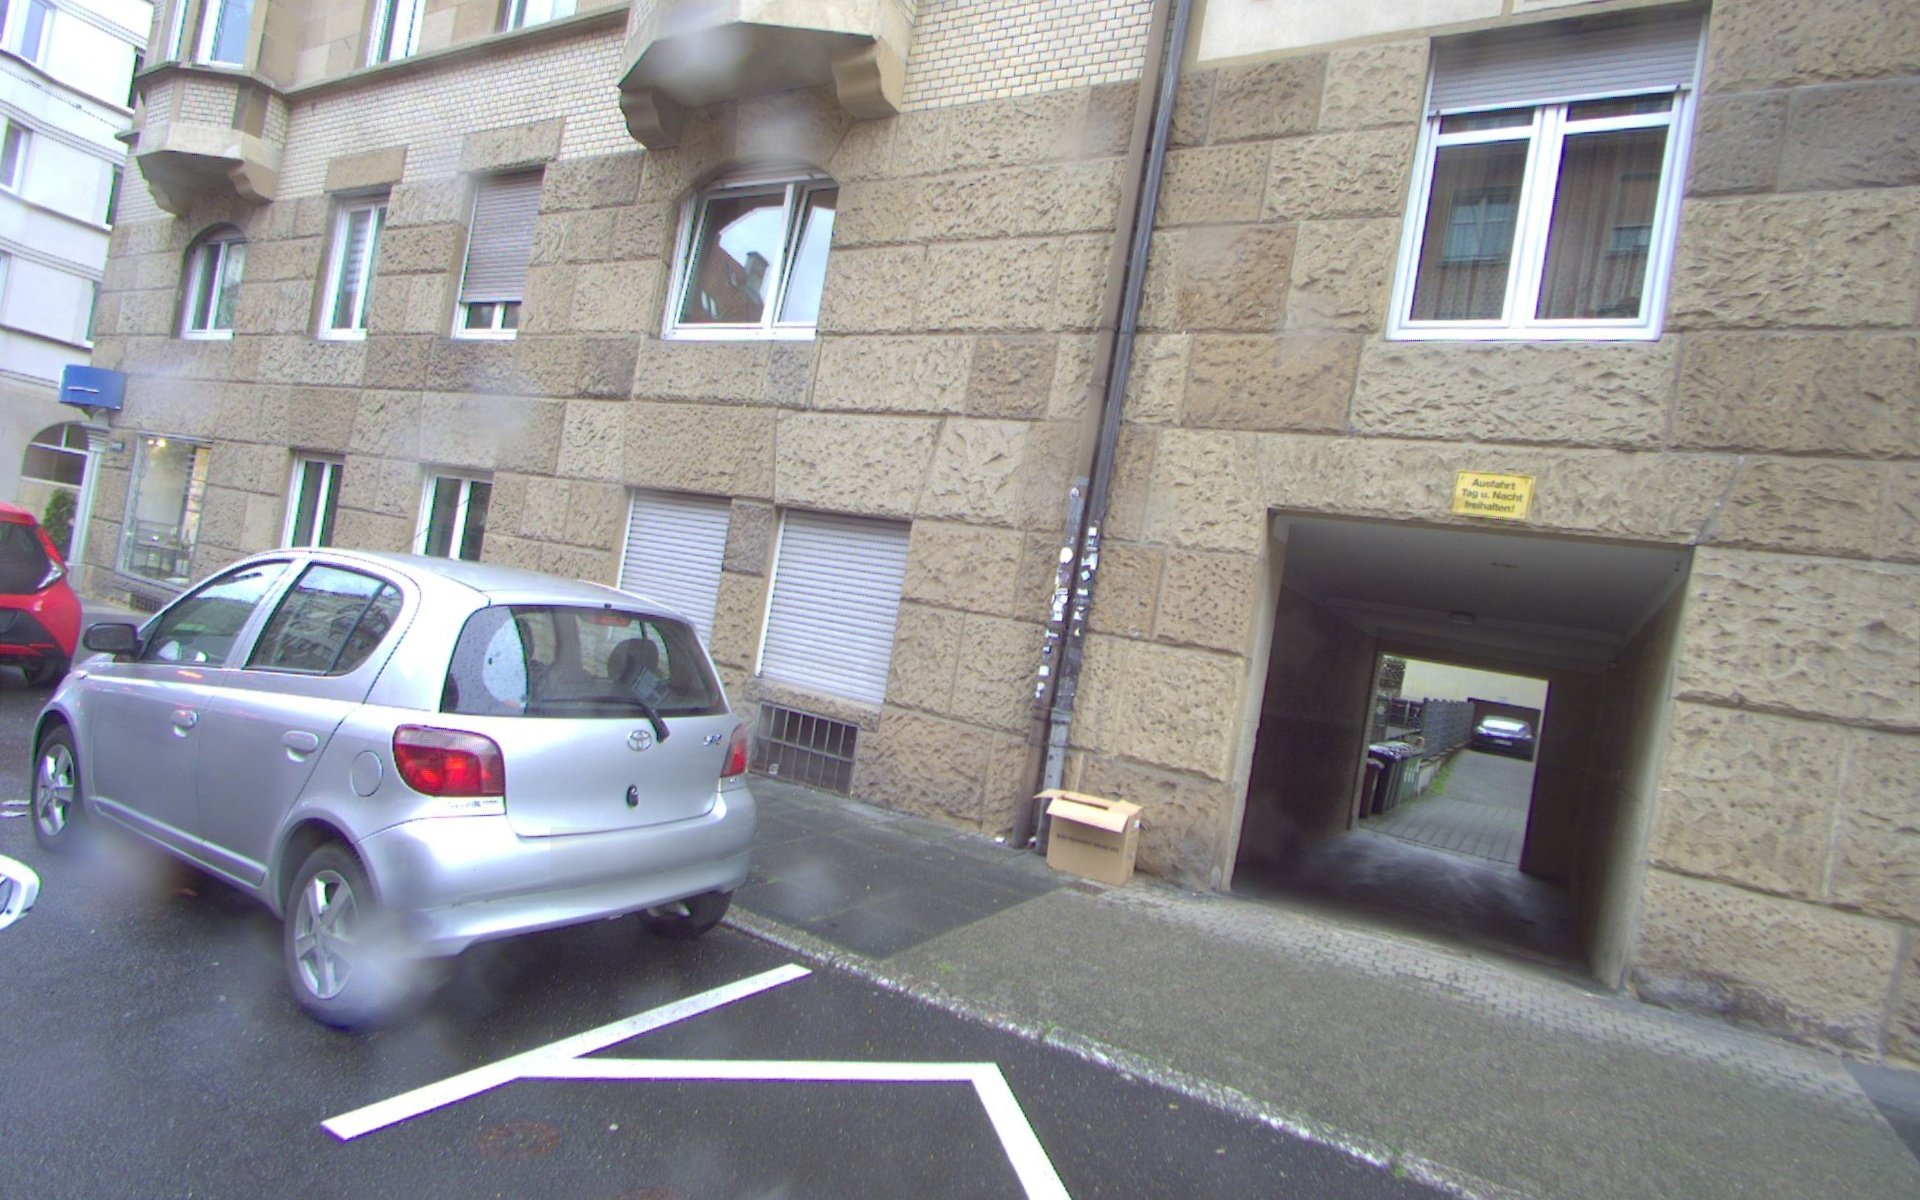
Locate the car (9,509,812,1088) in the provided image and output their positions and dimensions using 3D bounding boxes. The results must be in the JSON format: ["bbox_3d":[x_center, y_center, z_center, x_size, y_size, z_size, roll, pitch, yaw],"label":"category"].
[{"bbox_3d":[-2.487,0.549,4.404,3.258,1.485,1.616,7,0,33],"label":"car"}]

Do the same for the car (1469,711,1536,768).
[{"bbox_3d":[18.337,4.685,33.948,1.693,1.538,4.102,7,-3,31],"label":"car"}]

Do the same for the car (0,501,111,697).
[{"bbox_3d":[-8.736,-0.198,8.182,3.243,1.464,1.646,7,-2,29],"label":"car"}]
